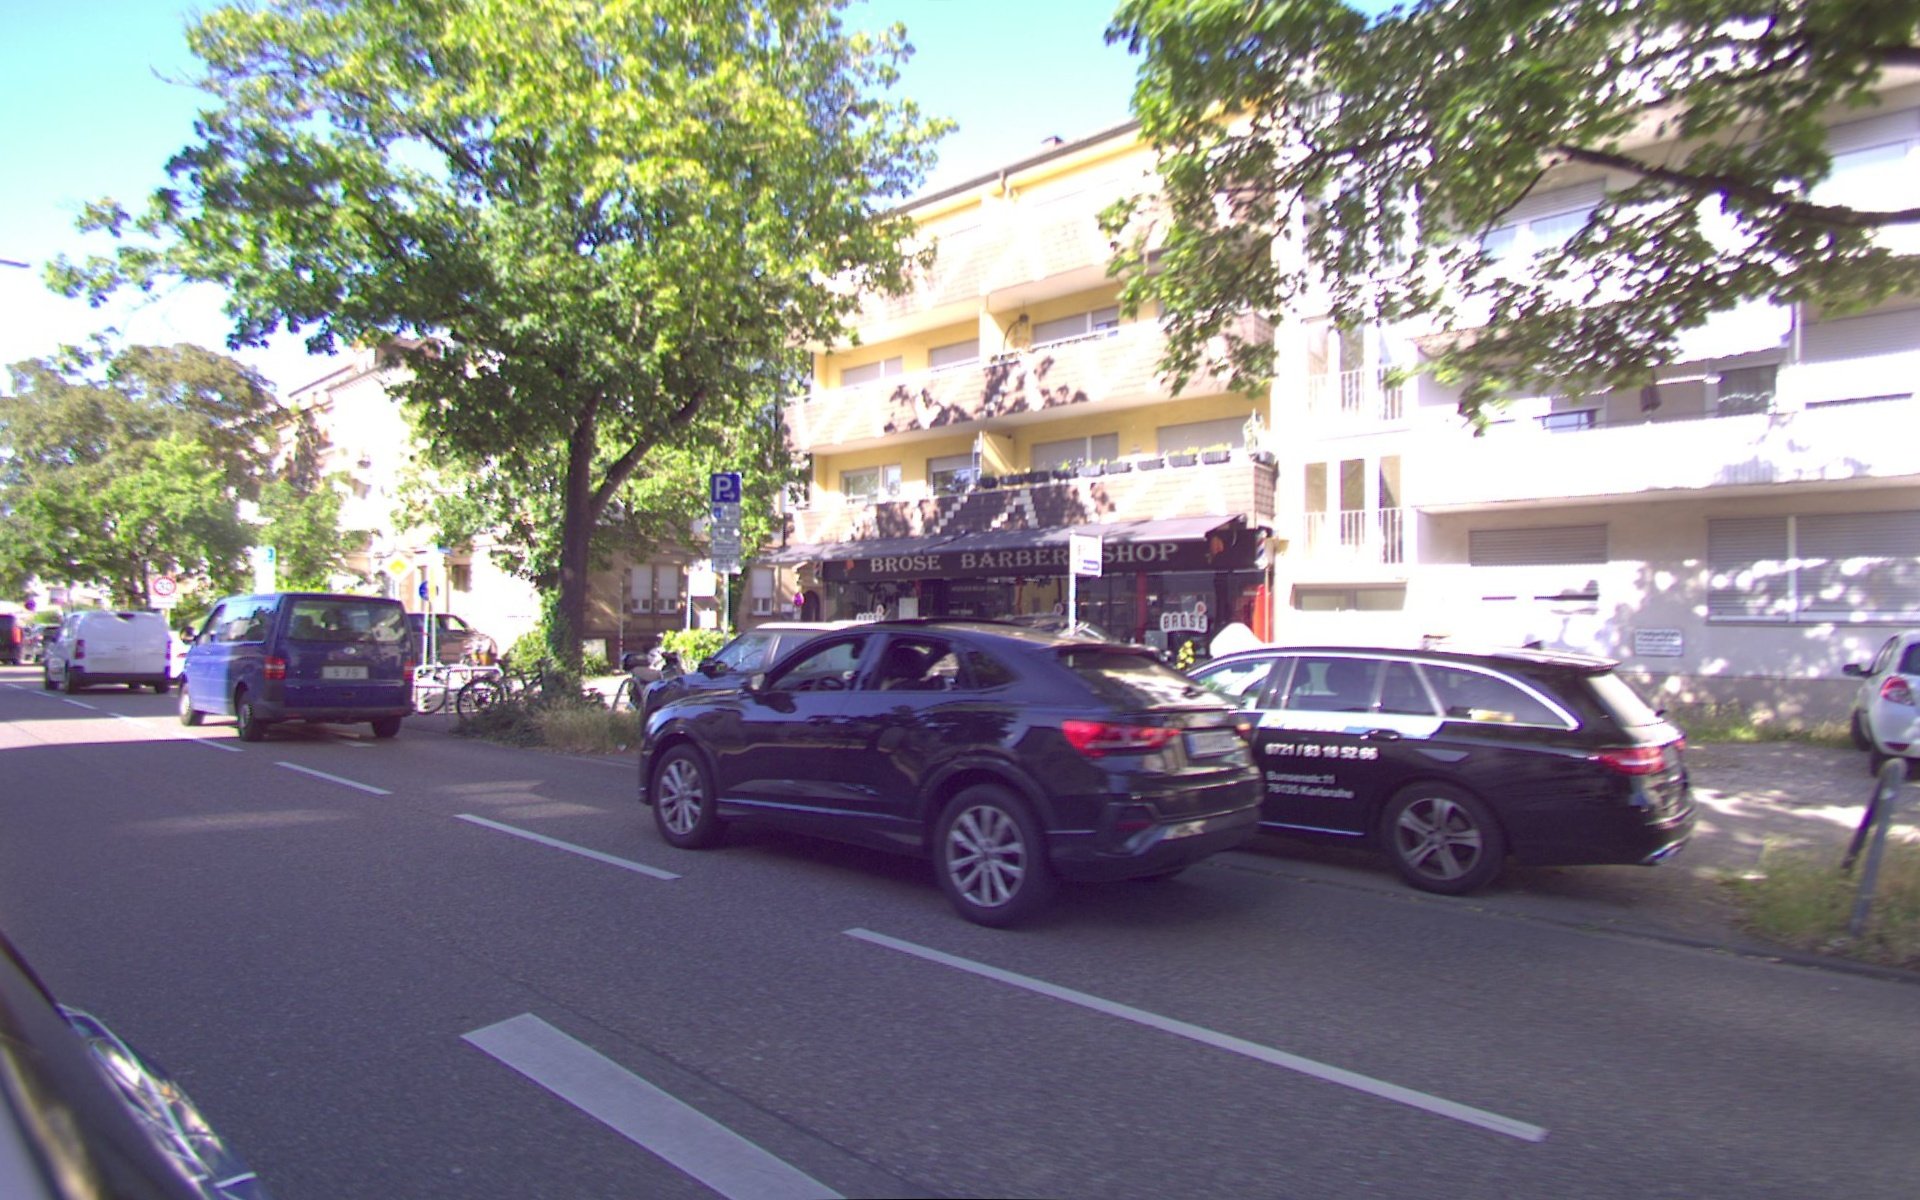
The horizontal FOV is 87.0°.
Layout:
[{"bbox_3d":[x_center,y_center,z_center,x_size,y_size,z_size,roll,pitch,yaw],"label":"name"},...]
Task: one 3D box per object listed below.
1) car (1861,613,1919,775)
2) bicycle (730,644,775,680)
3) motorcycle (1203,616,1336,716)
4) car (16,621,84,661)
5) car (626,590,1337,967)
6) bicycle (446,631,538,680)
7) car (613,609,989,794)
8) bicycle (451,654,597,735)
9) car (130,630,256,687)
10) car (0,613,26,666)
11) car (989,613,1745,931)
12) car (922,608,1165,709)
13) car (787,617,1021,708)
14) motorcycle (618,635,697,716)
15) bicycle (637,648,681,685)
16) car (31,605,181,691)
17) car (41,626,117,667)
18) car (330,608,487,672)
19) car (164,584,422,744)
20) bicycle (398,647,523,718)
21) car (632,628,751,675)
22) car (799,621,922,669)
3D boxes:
[{"bbox_3d":[10.769,0.884,10.547,1.879,1.498,3.946,-2,-2,40],"label":"car"},{"bbox_3d":[-5.931,1.767,28.848,0.398,0.988,1.760,2,-4,-43],"label":"bicycle"},{"bbox_3d":[4.952,1.013,16.143,2.120,1.497,0.783,0,-2,-31],"label":"motorcycle"},{"bbox_3d":[-39.256,1.740,43.642,4.345,1.600,1.608,-1,-1,40],"label":"car"},{"bbox_3d":[-0.119,0.840,6.335,4.340,1.578,1.701,-1,-5,41],"label":"car"},{"bbox_3d":[-13.715,1.603,29.824,0.941,1.271,3.169,2,-1,6],"label":"bicycle"},{"bbox_3d":[-1.835,0.928,10.870,4.132,1.608,1.705,-1,-1,40],"label":"car"},{"bbox_3d":[-6.549,1.391,15.247,1.994,1.100,0.464,0,-2,-26],"label":"bicycle"},{"bbox_3d":[-21.005,1.527,27.645,4.799,1.400,1.815,-1,-1,41],"label":"car"},{"bbox_3d":[-37.710,1.484,38.853,5.174,1.967,1.996,-1,-4,40],"label":"car"},{"bbox_3d":[2.547,0.890,7.175,4.678,1.547,1.704,-1,-1,41],"label":"car"},{"bbox_3d":[1.456,0.891,16.762,3.937,1.472,1.735,0,-2,-41],"label":"car"},{"bbox_3d":[-0.998,1.076,18.635,3.932,1.467,1.738,0,-2,-31],"label":"car"},{"bbox_3d":[-4.528,1.087,15.065,0.455,1.134,1.719,0,-2,-41],"label":"motorcycle"},{"bbox_3d":[-8.029,1.767,26.947,0.398,0.967,1.760,2,-4,-43],"label":"bicycle"},{"bbox_3d":[-19.310,1.061,22.812,4.490,1.756,1.797,-1,-4,40],"label":"car"},{"bbox_3d":[-33.150,1.703,38.048,4.087,1.427,1.620,-1,0,41],"label":"car"},{"bbox_3d":[-17.388,1.240,32.145,1.864,1.893,4.304,-1,-1,17],"label":"car"},{"bbox_3d":[-9.623,0.864,14.450,4.709,1.925,1.784,-1,-5,41],"label":"car"},{"bbox_3d":[-8.637,1.407,17.557,1.903,1.144,0.464,0,-1,-21],"label":"bicycle"},{"bbox_3d":[-9.347,1.775,35.453,1.646,1.499,3.744,1,-1,41],"label":"car"},{"bbox_3d":[-3.166,1.455,32.715,1.646,1.453,3.946,-3,-4,40],"label":"car"}]
